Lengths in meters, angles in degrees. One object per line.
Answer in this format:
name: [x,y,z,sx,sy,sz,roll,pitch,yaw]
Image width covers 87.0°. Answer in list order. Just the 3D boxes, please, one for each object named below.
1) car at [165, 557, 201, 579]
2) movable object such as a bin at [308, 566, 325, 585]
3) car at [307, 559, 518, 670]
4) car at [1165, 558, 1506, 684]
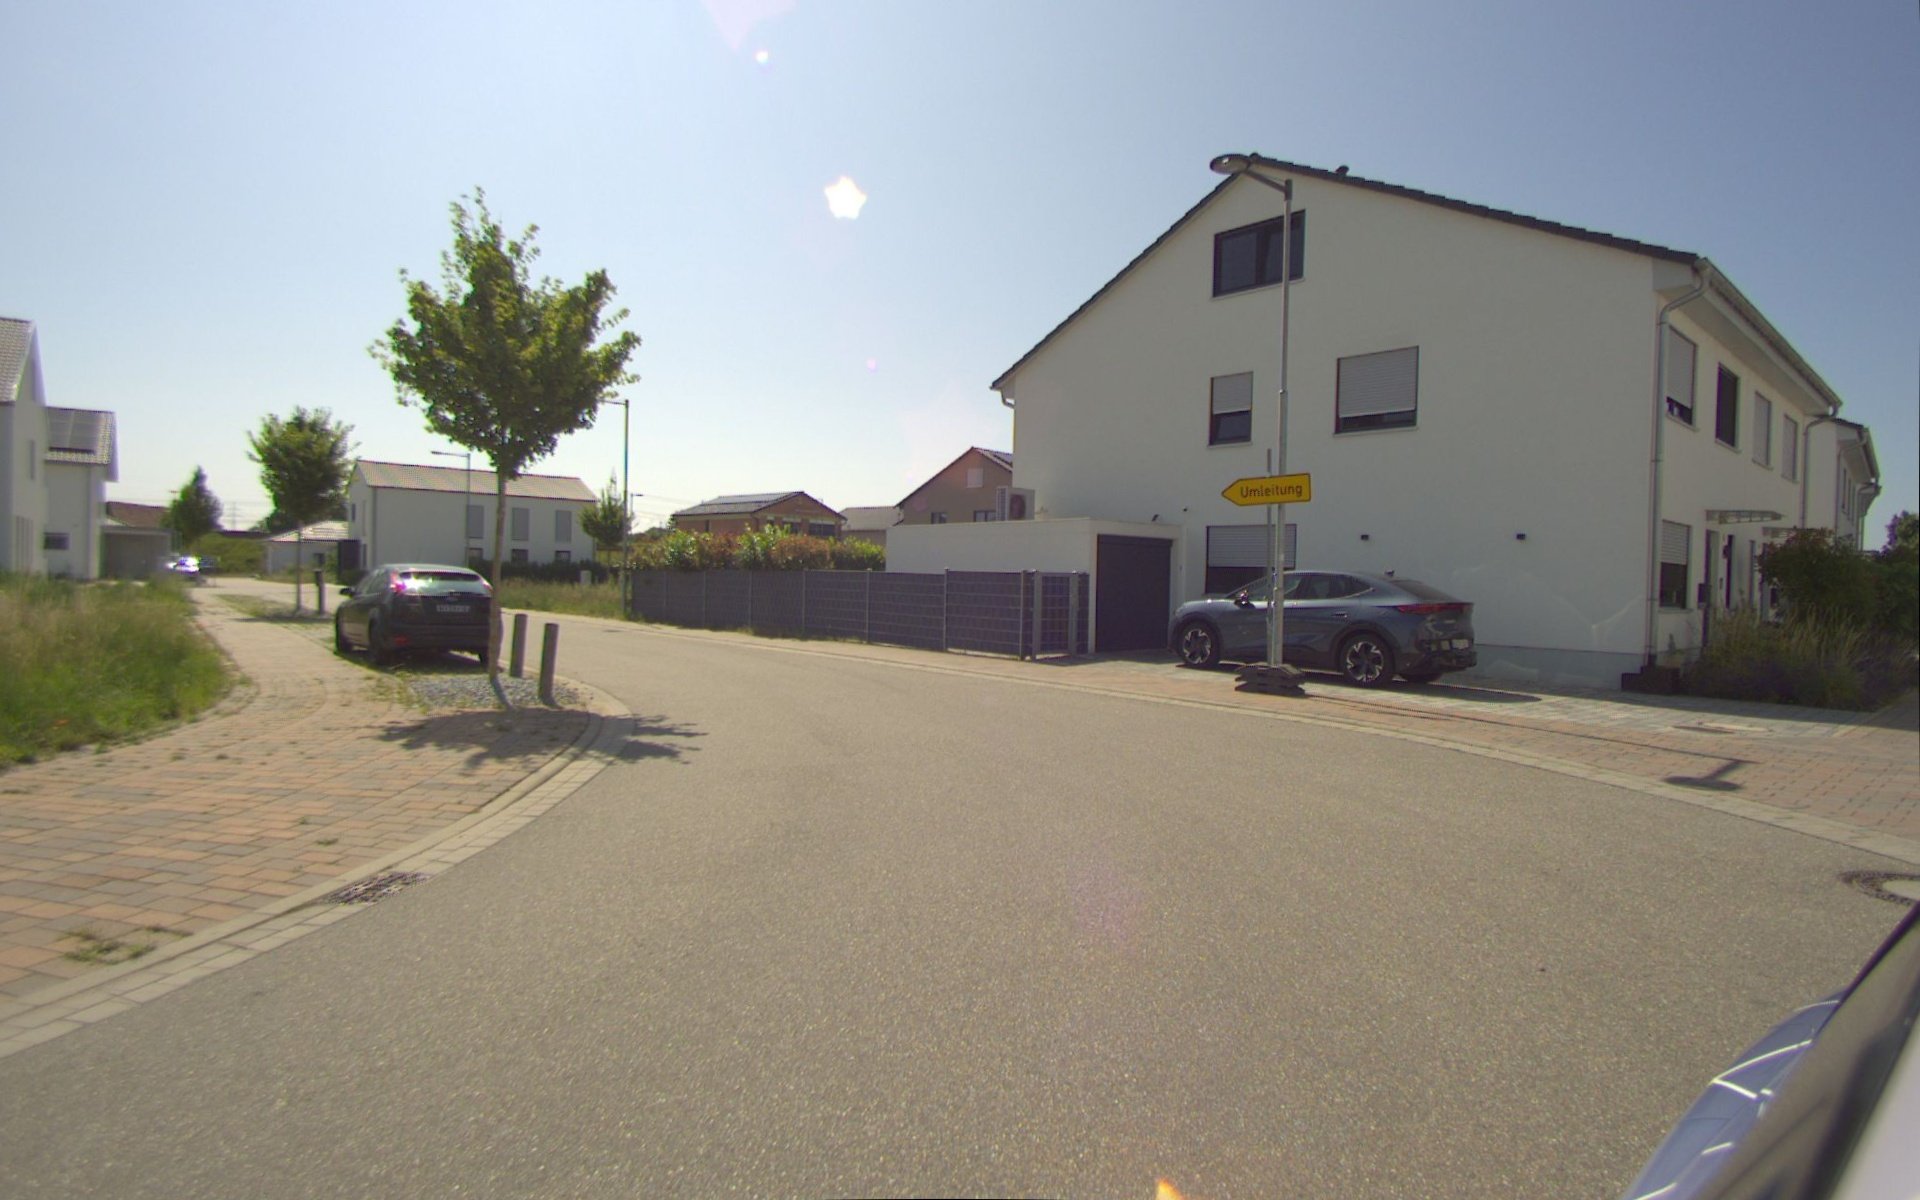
car: [-53.959,-2.244,70.256,1.891,1.437,4.417,0,2,-39]
movable object such as a bin: [-38.860,-1.490,61.149,0.793,1.112,0.672,0,1,-38]
car: [-8.714,0.134,15.949,1.820,1.512,4.182,-2,2,-45]
car: [5.384,0.205,14.984,1.926,1.577,4.345,1,1,-40]
